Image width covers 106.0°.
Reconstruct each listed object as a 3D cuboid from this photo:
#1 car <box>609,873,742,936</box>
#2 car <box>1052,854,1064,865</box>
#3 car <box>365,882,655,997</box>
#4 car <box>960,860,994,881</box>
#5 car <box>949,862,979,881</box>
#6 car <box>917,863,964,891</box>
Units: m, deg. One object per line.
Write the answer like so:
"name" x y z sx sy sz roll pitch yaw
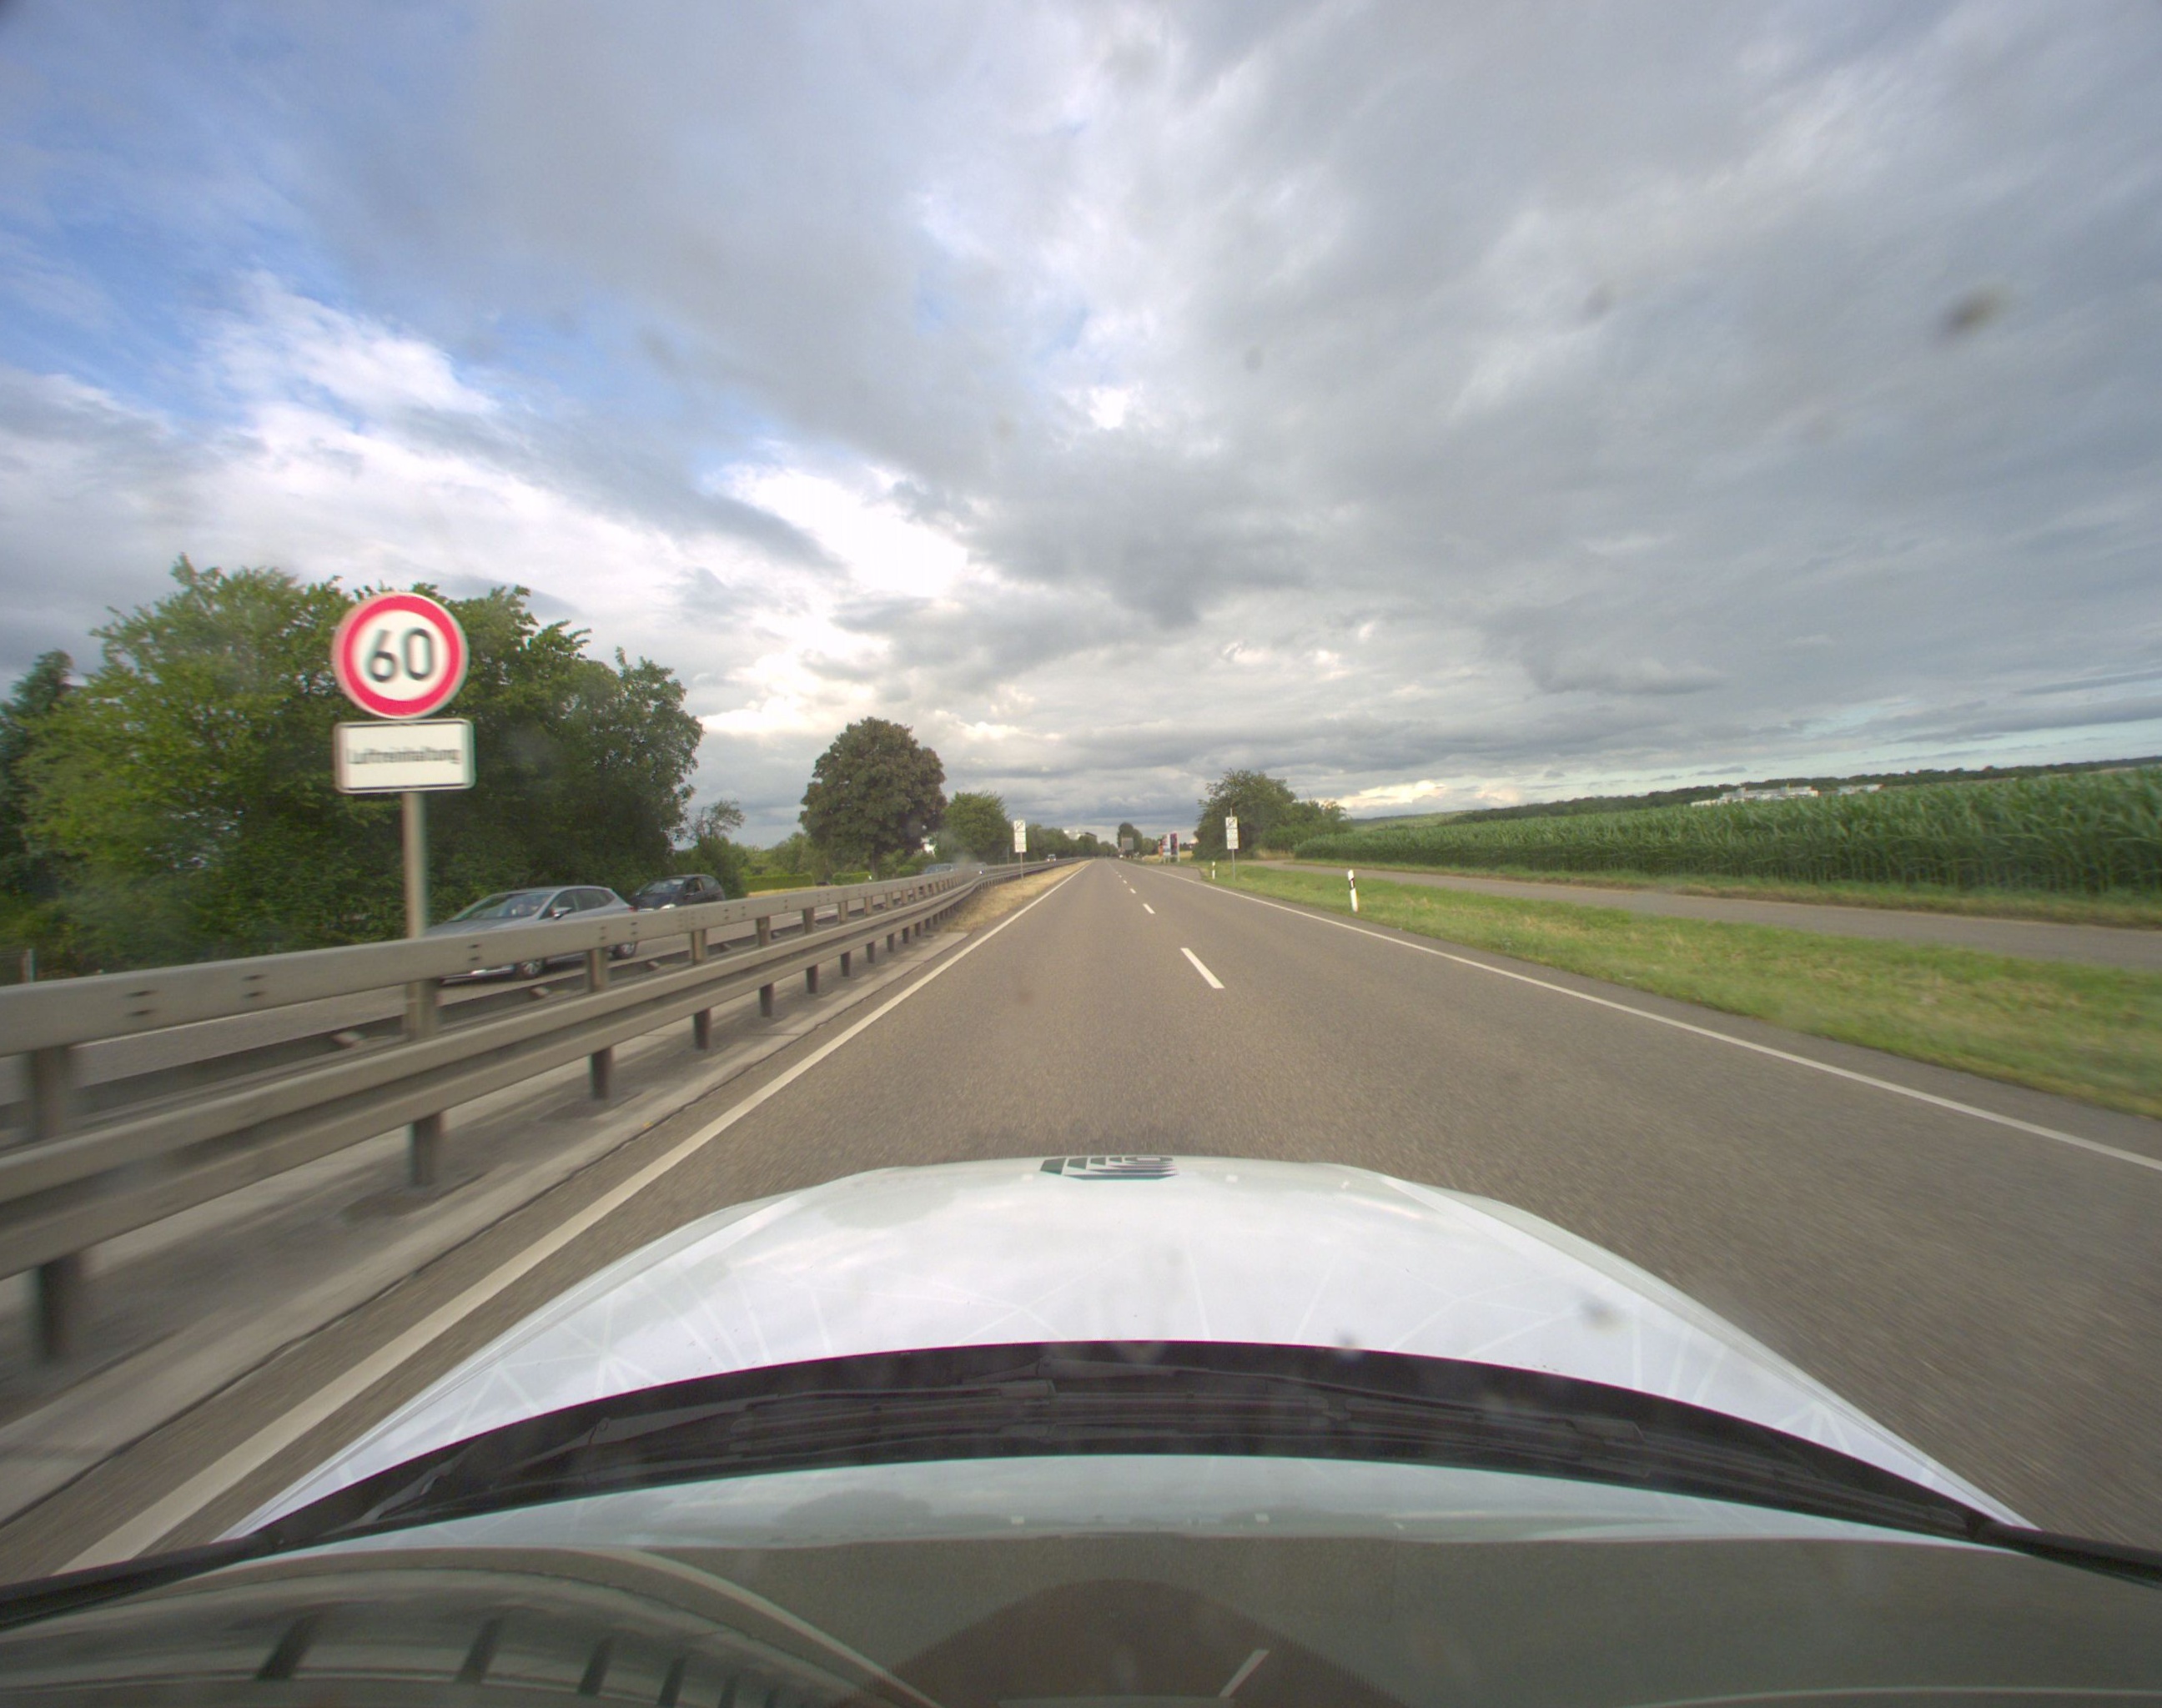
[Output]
"car" -12.132 1.452 24.695 1.782 1.573 4.161 -3 0 1
"car" -4.957 1.125 173.486 1.985 2.140 5.322 -4 0 3
"car" -9.206 1.285 13.657 1.782 1.386 4.161 -3 0 1
"car" -8.106 1.279 63.982 1.860 1.477 4.936 -3 0 1
"car" -10.506 1.569 73.419 1.860 1.564 4.153 -3 0 1
"car" -8.418 1.336 49.194 1.860 1.477 4.826 -3 0 1
